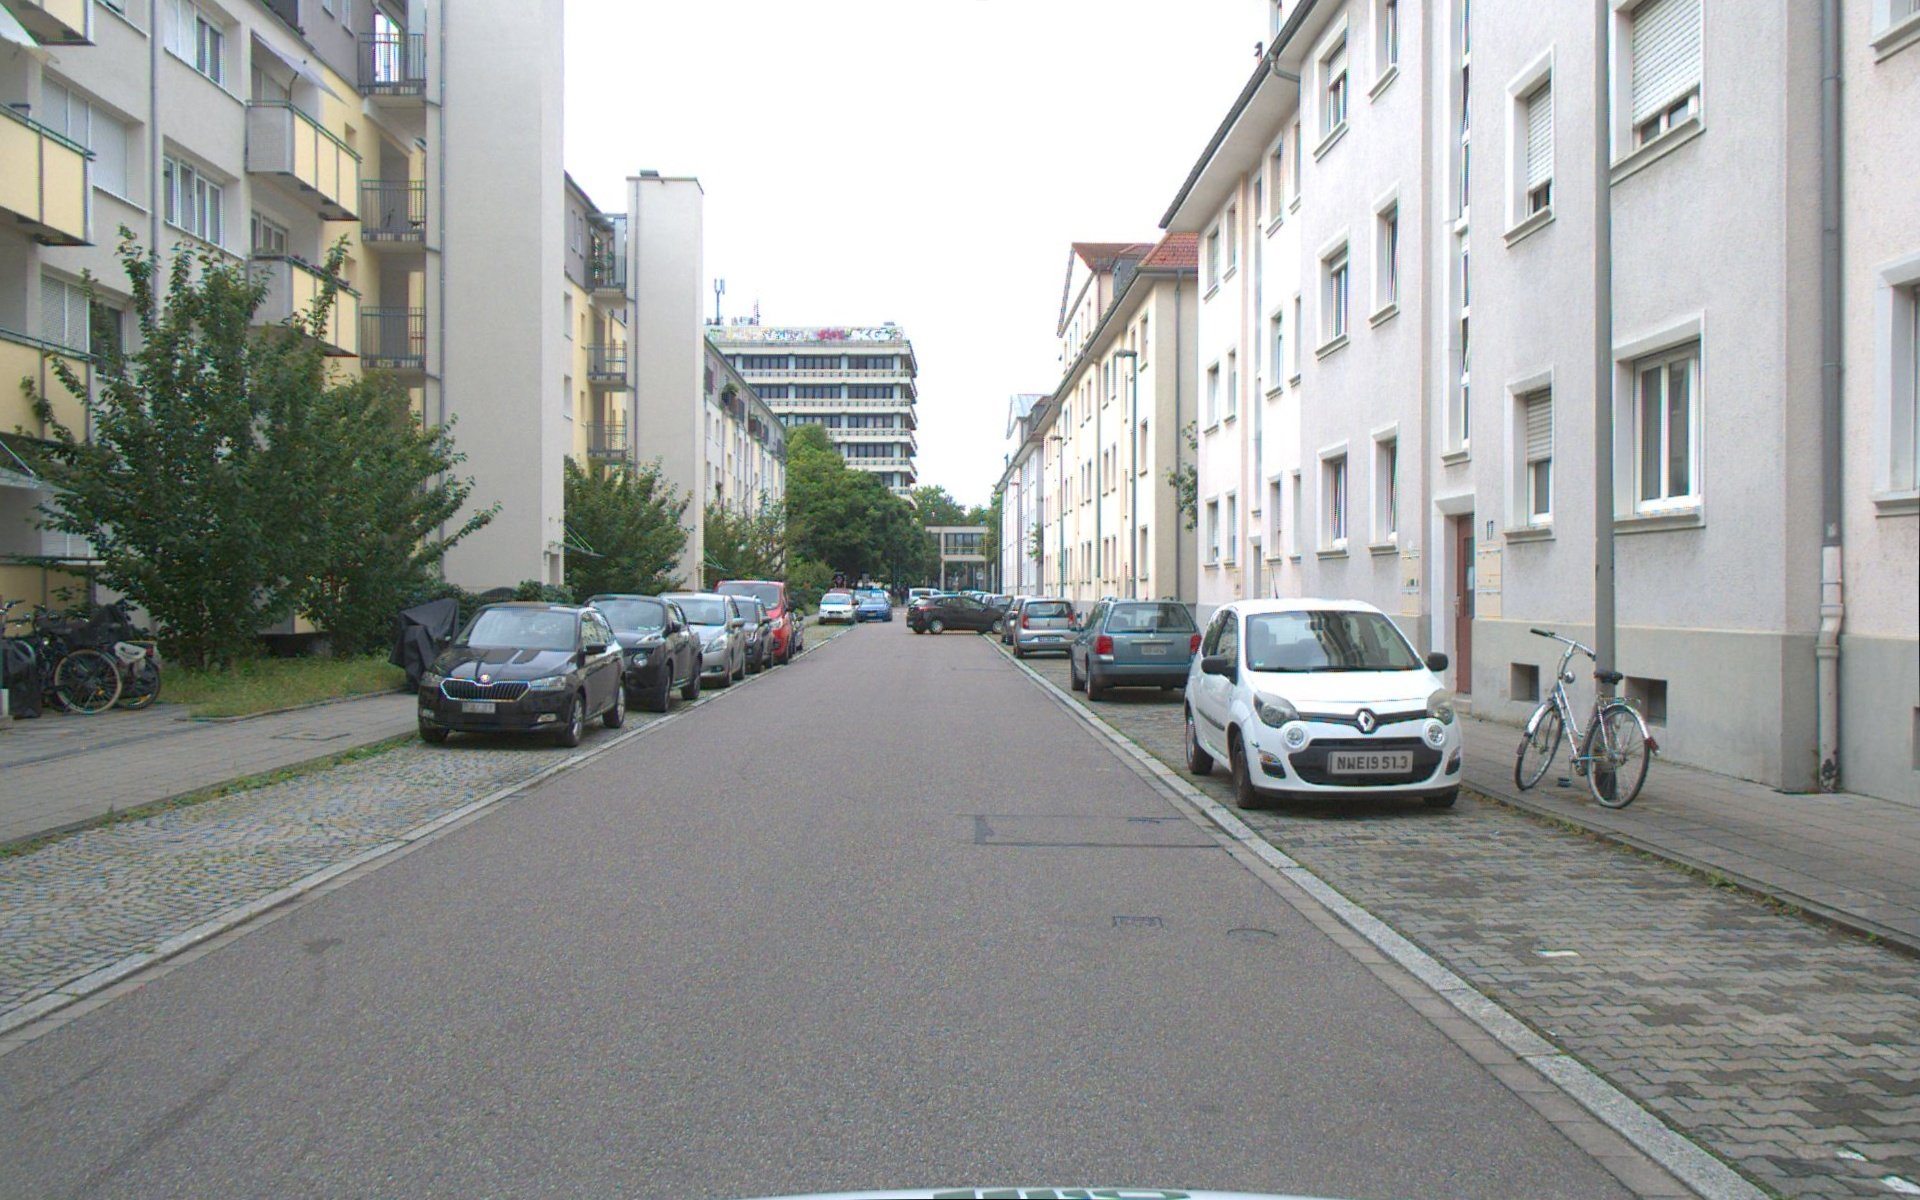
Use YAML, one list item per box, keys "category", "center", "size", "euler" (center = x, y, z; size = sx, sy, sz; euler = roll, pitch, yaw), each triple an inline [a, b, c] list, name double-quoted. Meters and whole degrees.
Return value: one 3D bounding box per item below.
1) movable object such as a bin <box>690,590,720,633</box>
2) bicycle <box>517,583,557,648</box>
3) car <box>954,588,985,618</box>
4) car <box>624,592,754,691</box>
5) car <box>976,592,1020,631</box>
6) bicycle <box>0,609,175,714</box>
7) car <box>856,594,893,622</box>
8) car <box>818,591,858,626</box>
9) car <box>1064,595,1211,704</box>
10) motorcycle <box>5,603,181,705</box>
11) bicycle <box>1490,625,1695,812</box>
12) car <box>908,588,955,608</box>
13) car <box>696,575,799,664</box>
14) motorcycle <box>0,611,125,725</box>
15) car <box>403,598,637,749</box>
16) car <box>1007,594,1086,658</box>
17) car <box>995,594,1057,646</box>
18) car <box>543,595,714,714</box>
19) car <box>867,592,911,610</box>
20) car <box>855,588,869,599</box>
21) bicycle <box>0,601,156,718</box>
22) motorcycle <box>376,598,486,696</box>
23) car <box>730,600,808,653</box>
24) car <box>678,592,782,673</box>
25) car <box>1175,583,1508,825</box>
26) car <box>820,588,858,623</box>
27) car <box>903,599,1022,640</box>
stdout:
- category: "movable object such as a bin"
  center: [-8.946, 0.395, 58.032]
  size: [0.787, 1.454, 1.288]
  euler: [1, 0, 2]
- category: "bicycle"
  center: [-8.072, 0.287, 31.577]
  size: [0.541, 1.212, 1.725]
  euler: [-1, 0, -8]
- category: "car"
  center: [0.539, 0.162, 97.873]
  size: [1.783, 1.671, 4.091]
  euler: [-1, 0, 0]
- category: "car"
  center: [-4.848, 0.687, 30.197]
  size: [1.798, 1.597, 4.858]
  euler: [2, 0, -3]
- category: "car"
  center: [1.575, 0.465, 69.657]
  size: [1.690, 1.544, 4.059]
  euler: [-1, 0, -1]
- category: "bicycle"
  center: [-9.957, 0.686, 18.874]
  size: [1.689, 1.162, 0.608]
  euler: [0, 0, -6]
- category: "car"
  center: [-4.750, 0.440, 92.620]
  size: [1.807, 1.476, 4.501]
  euler: [1, 0, 0]
- category: "car"
  center: [-5.985, 0.408, 81.321]
  size: [1.686, 1.597, 3.869]
  euler: [2, 0, -1]
- category: "car"
  center: [2.625, 0.690, 25.363]
  size: [1.690, 1.495, 4.263]
  euler: [-1, 0, -1]
- category: "motorcycle"
  center: [-10.198, 0.624, 19.496]
  size: [1.715, 1.149, 0.593]
  euler: [-1, 0, -6]
- category: "bicycle"
  center: [4.449, 0.785, 11.805]
  size: [0.593, 1.160, 2.124]
  euler: [-1, 0, -1]
- category: "car"
  center: [-2.676, -0.158, 154.171]
  size: [4.239, 1.821, 1.860]
  euler: [-1, 0, -8]
- category: "car"
  center: [-5.128, 0.442, 40.596]
  size: [2.109, 1.988, 4.918]
  euler: [2, 0, -3]
- category: "motorcycle"
  center: [-9.816, 0.712, 17.508]
  size: [1.583, 1.149, 0.690]
  euler: [-1, 0, -5]
- category: "car"
  center: [-4.812, 0.736, 18.603]
  size: [1.610, 1.463, 3.856]
  euler: [2, 0, -1]
- category: "car"
  center: [2.162, 0.611, 42.027]
  size: [1.690, 1.518, 4.060]
  euler: [-1, 0, -1]
- category: "car"
  center: [2.040, 0.593, 52.069]
  size: [1.690, 1.544, 4.059]
  euler: [-1, 0, -1]
- category: "car"
  center: [-4.758, 0.732, 24.234]
  size: [1.619, 1.557, 3.895]
  euler: [2, 0, 1]
- category: "car"
  center: [-6.767, 0.068, 157.408]
  size: [4.115, 1.681, 1.893]
  euler: [-1, 0, -8]
- category: "car"
  center: [-11.878, -0.786, 200.784]
  size: [1.632, 1.356, 3.395]
  euler: [0, 1, -1]
- category: "bicycle"
  center: [-9.880, 0.648, 18.241]
  size: [1.689, 1.246, 0.608]
  euler: [-1, 0, -6]
- category: "motorcycle"
  center: [-7.724, 0.654, 24.283]
  size: [0.851, 1.329, 2.419]
  euler: [1, 0, -1]
- category: "car"
  center: [-5.345, 0.714, 46.650]
  size: [1.832, 1.346, 4.360]
  euler: [1, 0, -2]
- category: "car"
  center: [-4.851, 0.648, 35.355]
  size: [1.686, 1.597, 4.053]
  euler: [2, 0, -1]
- category: "car"
  center: [2.840, 0.694, 13.134]
  size: [1.747, 1.627, 3.804]
  euler: [-1, 0, 0]
- category: "car"
  center: [-6.371, 0.275, 87.206]
  size: [1.917, 1.801, 4.359]
  euler: [1, 0, -3]
- category: "car"
  center: [0.078, 0.714, 62.718]
  size: [4.156, 1.458, 1.898]
  euler: [0, 0, -20]
